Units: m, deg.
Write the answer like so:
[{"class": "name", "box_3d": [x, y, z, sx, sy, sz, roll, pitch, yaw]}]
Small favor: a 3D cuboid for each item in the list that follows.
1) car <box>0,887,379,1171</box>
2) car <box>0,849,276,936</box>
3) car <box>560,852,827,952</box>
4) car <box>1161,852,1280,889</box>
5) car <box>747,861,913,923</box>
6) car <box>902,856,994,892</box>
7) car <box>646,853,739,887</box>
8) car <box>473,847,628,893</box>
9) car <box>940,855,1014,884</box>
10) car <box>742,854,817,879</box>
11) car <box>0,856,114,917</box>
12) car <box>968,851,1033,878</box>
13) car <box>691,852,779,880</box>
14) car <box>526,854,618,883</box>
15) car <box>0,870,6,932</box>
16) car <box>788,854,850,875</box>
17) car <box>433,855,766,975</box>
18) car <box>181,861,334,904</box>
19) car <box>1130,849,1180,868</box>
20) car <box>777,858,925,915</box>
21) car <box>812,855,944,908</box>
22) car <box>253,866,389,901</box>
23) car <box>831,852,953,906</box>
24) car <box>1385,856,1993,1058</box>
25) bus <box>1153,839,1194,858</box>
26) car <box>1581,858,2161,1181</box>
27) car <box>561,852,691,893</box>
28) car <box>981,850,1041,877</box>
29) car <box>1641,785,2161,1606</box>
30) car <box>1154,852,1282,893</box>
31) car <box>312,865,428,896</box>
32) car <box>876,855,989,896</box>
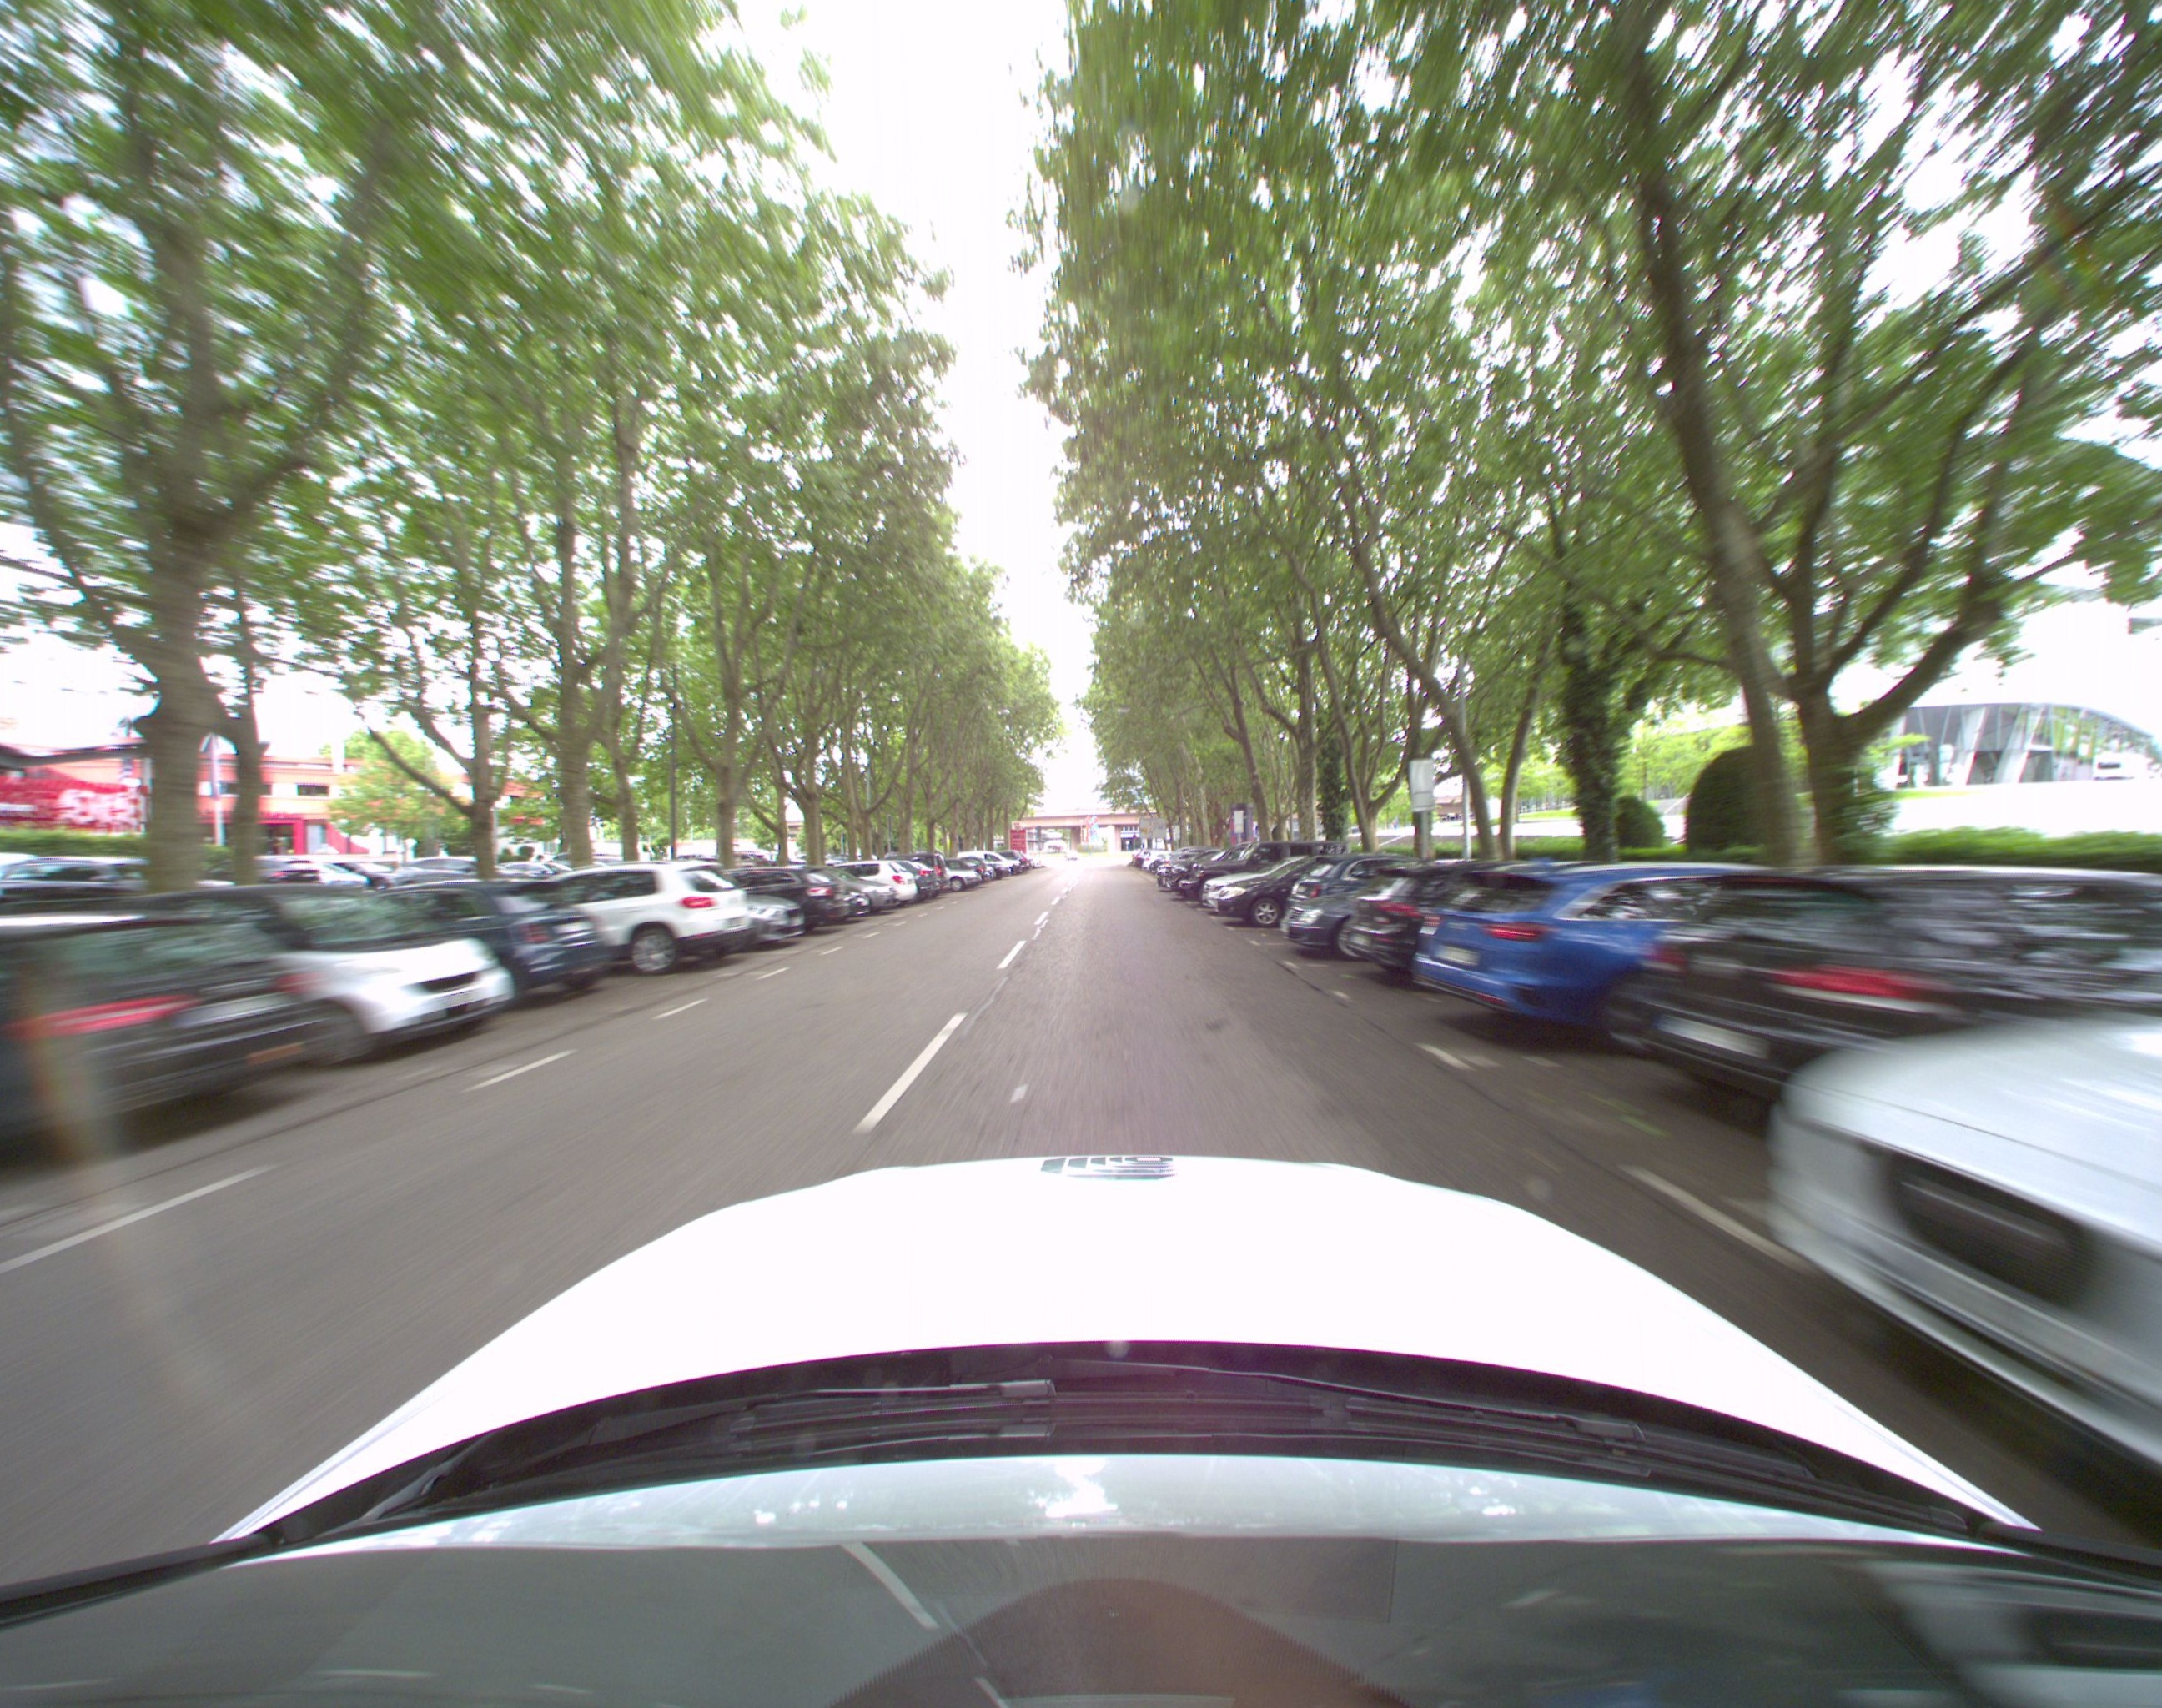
[{"class": "car", "box_3d": [-7.320, 0.988, 5.167, 3.980, 1.453, 1.853, 0, 0, -5]}, {"class": "car", "box_3d": [-22.294, 0.876, 19.170, 4.539, 1.720, 1.999, -3, 0, -1]}, {"class": "car", "box_3d": [-6.941, 0.829, 14.889, 3.971, 1.682, 1.857, 0, -1, 2]}, {"class": "car", "box_3d": [5.458, 0.639, 32.359, 4.477, 1.419, 1.830, 0, 0, 2]}, {"class": "car", "box_3d": [-6.848, 1.024, 22.505, 3.981, 1.420, 1.703, -3, 0, -1]}, {"class": "car", "box_3d": [-6.090, 0.912, 37.575, 3.918, 1.398, 1.703, -3, 0, -1]}, {"class": "car", "box_3d": [-22.075, 0.912, 46.418, 4.306, 1.861, 2.028, 0, -1, 0]}, {"class": "car", "box_3d": [-21.888, 0.663, 33.754, 4.927, 1.797, 2.182, 0, 0, -2]}, {"class": "car", "box_3d": [-6.027, 0.892, 47.493, 3.960, 1.421, 1.758, -3, 0, 4]}, {"class": "car", "box_3d": [-21.634, 0.890, 58.633, 4.503, 1.762, 2.296, 0, 0, 0]}, {"class": "car", "box_3d": [-33.465, 0.982, 24.947, 4.927, 1.797, 2.182, 0, 0, -2]}, {"class": "car", "box_3d": [-5.674, 0.744, 57.620, 4.302, 1.795, 2.037, 0, -1, 1]}, {"class": "car", "box_3d": [-21.891, 0.748, 51.682, 4.536, 1.725, 2.296, 0, 0, 0]}, {"class": "car", "box_3d": [-32.842, 0.929, 52.604, 4.555, 1.855, 2.300, -1, 0, 6]}, {"class": "car", "box_3d": [-33.583, 1.368, 22.408, 4.927, 1.797, 2.182, 0, 0, -2]}, {"class": "car", "box_3d": [-21.257, 0.849, 66.139, 4.306, 1.709, 2.132, 0, 0, 0]}, {"class": "car", "box_3d": [-7.191, 0.874, 12.466, 3.971, 1.682, 1.857, 0, -1, 2]}, {"class": "car", "box_3d": [-33.046, 1.112, 32.775, 3.977, 1.625, 1.998, 0, 0, -3]}, {"class": "car", "box_3d": [6.497, 0.391, 72.268, 4.330, 1.633, 1.926, 0, 1, 1]}, {"class": "car", "box_3d": [-7.079, 0.986, 25.283, 3.973, 1.485, 1.706, -3, 0, 5]}, {"class": "car", "box_3d": [-6.709, 0.894, 27.221, 3.918, 1.516, 1.728, -3, 0, -1]}, {"class": "car", "box_3d": [-32.777, 1.249, 35.213, 3.975, 1.427, 1.999, 0, 0, -1]}, {"class": "car", "box_3d": [-6.826, 0.873, 29.688, 3.918, 1.708, 1.752, -3, 0, -1]}, {"class": "car", "box_3d": [5.001, 0.763, 7.094, 4.008, 1.447, 1.911, 0, 1, -5]}, {"class": "bus", "box_3d": [17.486, -1.013, 152.693, 2.310, 3.398, 10.081, -1, 0, 41]}, {"class": "car", "box_3d": [5.372, 0.767, 4.607, 4.000, 1.447, 1.785, 0, 1, 1]}, {"class": "car", "box_3d": [-21.724, 0.850, 39.078, 4.927, 1.797, 2.182, -1, 0, -2]}, {"class": "car", "box_3d": [-5.320, 0.719, 62.073, 4.302, 1.810, 1.868, -3, 0, 1]}, {"class": "car", "box_3d": [4.410, 0.664, 2.121, 4.507, 1.623, 2.055, 0, 0, 1]}, {"class": "car", "box_3d": [4.968, 0.649, 30.000, 4.478, 1.428, 1.933, 0, 0, 1]}, {"class": "car", "box_3d": [-32.639, 1.194, 37.445, 3.975, 1.371, 1.506, 0, -1, -1]}, {"class": "car", "box_3d": [-6.354, 0.900, 35.156, 4.449, 1.482, 1.703, -3, 0, -1]}]
